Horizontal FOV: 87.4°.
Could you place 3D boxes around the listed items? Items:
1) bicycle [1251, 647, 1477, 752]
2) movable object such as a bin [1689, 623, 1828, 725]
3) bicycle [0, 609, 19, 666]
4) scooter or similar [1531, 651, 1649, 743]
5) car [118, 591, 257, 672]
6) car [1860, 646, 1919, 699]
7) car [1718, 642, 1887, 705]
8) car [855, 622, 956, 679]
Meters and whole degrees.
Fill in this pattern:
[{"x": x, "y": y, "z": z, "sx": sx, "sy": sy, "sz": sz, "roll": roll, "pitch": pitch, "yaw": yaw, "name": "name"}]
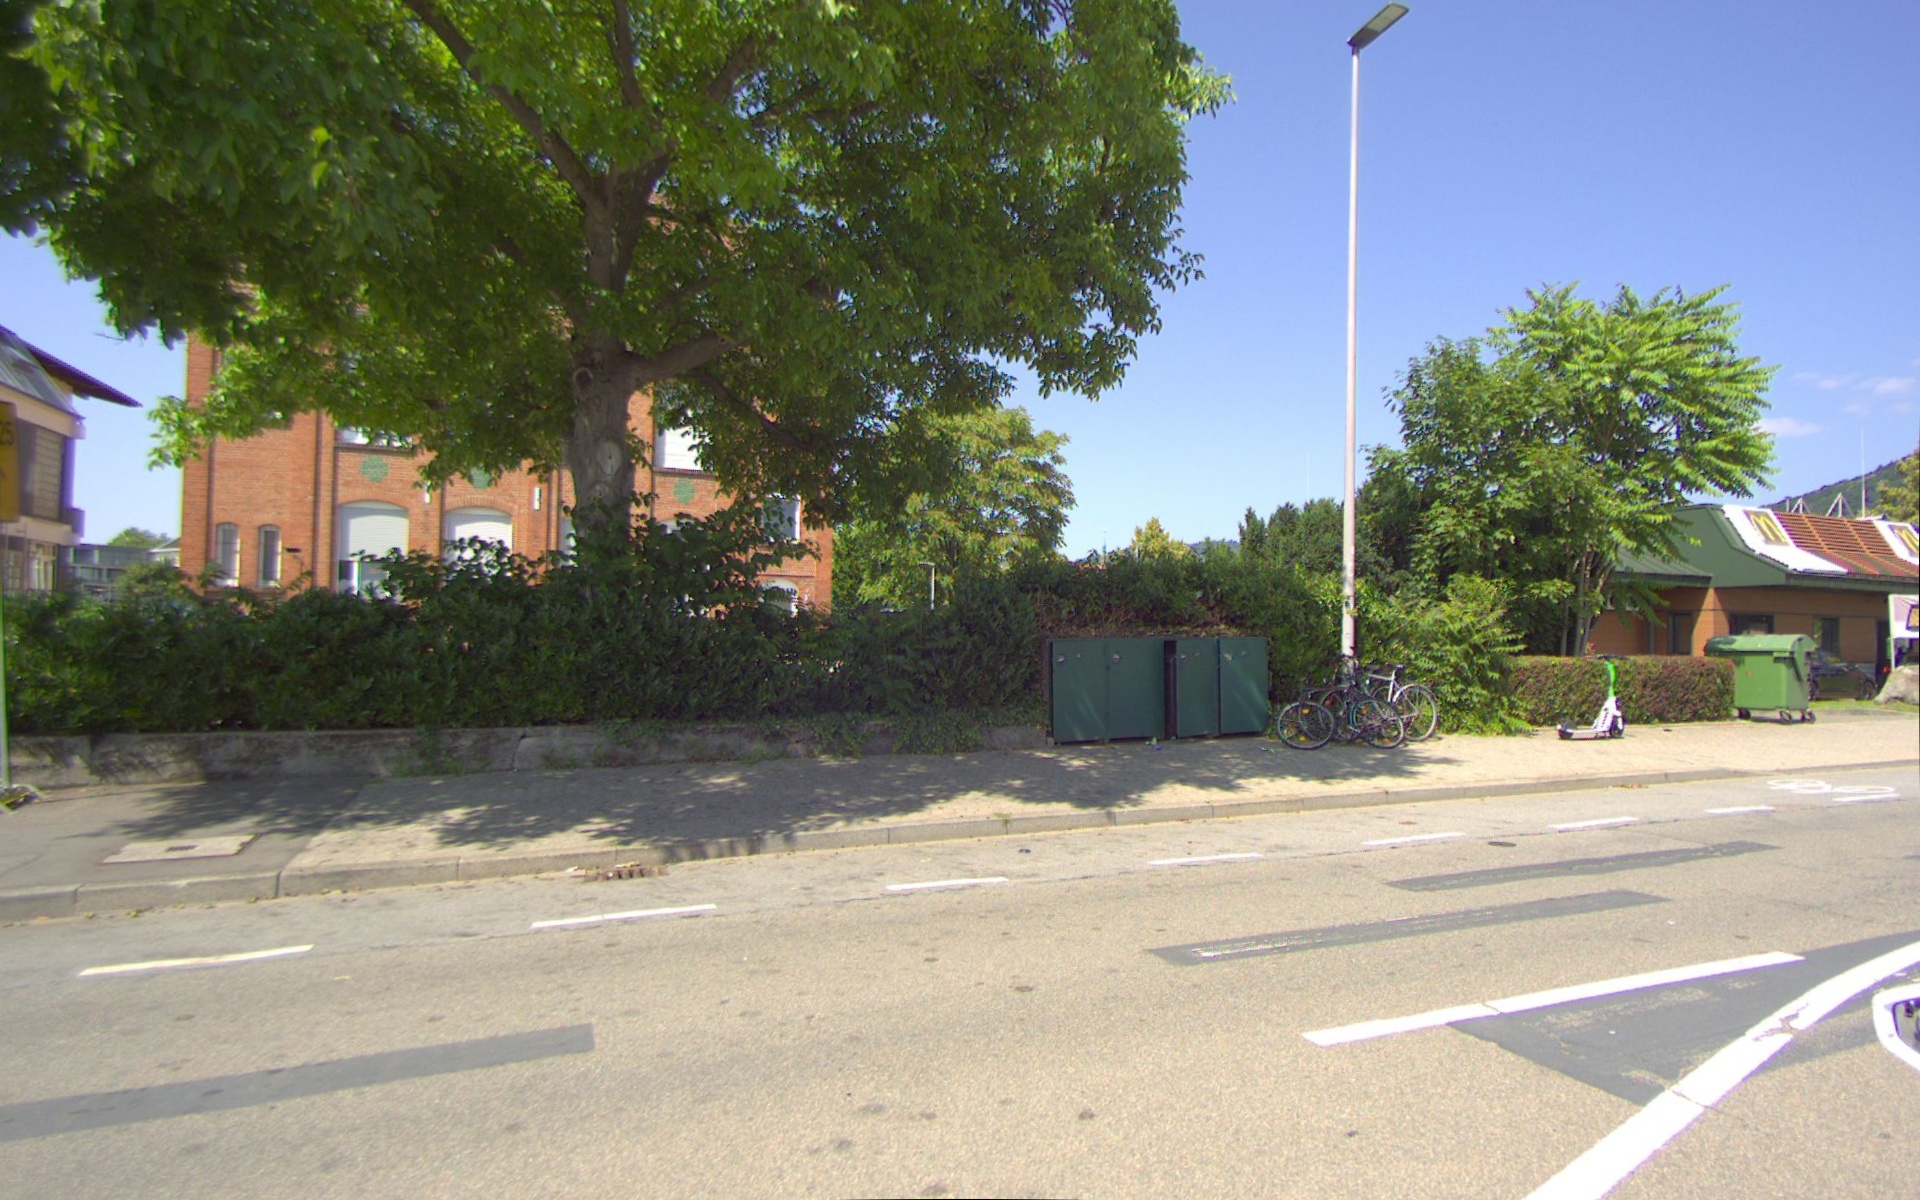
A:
[{"x": 5.093, "y": 1.197, "z": 12.631, "sx": 2.728, "sy": 1.133, "sz": 1.024, "roll": 1, "pitch": 2, "yaw": -25, "name": "bicycle"}, {"x": 13.443, "y": 1.213, "z": 16.941, "sx": 1.292, "sy": 1.611, "sz": 1.441, "roll": 1, "pitch": -2, "yaw": -30, "name": "movable object such as a bin"}, {"x": -19.741, "y": 0.770, "z": 20.351, "sx": 0.507, "sy": 1.115, "sz": 1.626, "roll": 1, "pitch": 1, "yaw": -25, "name": "bicycle"}, {"x": 8.661, "y": 1.303, "z": 13.797, "sx": 1.602, "sy": 1.143, "sz": 0.644, "roll": 1, "pitch": 1, "yaw": -28, "name": "scooter or similar"}, {"x": -17.168, "y": 0.642, "z": 22.520, "sx": 1.604, "sy": 1.558, "sz": 3.974, "roll": 3, "pitch": 0, "yaw": -25, "name": "car"}, {"x": 29.141, "y": 2.138, "z": 29.746, "sx": 4.066, "sy": 1.435, "sz": 1.991, "roll": 1, "pitch": 0, "yaw": -20, "name": "car"}, {"x": 22.945, "y": 1.957, "z": 27.348, "sx": 4.260, "sy": 1.496, "sz": 1.823, "roll": 1, "pitch": 0, "yaw": -24, "name": "car"}, {"x": -1.599, "y": 1.556, "z": 31.423, "sx": 2.112, "sy": 1.654, "sz": 4.483, "roll": 0, "pitch": -3, "yaw": 11, "name": "car"}]
